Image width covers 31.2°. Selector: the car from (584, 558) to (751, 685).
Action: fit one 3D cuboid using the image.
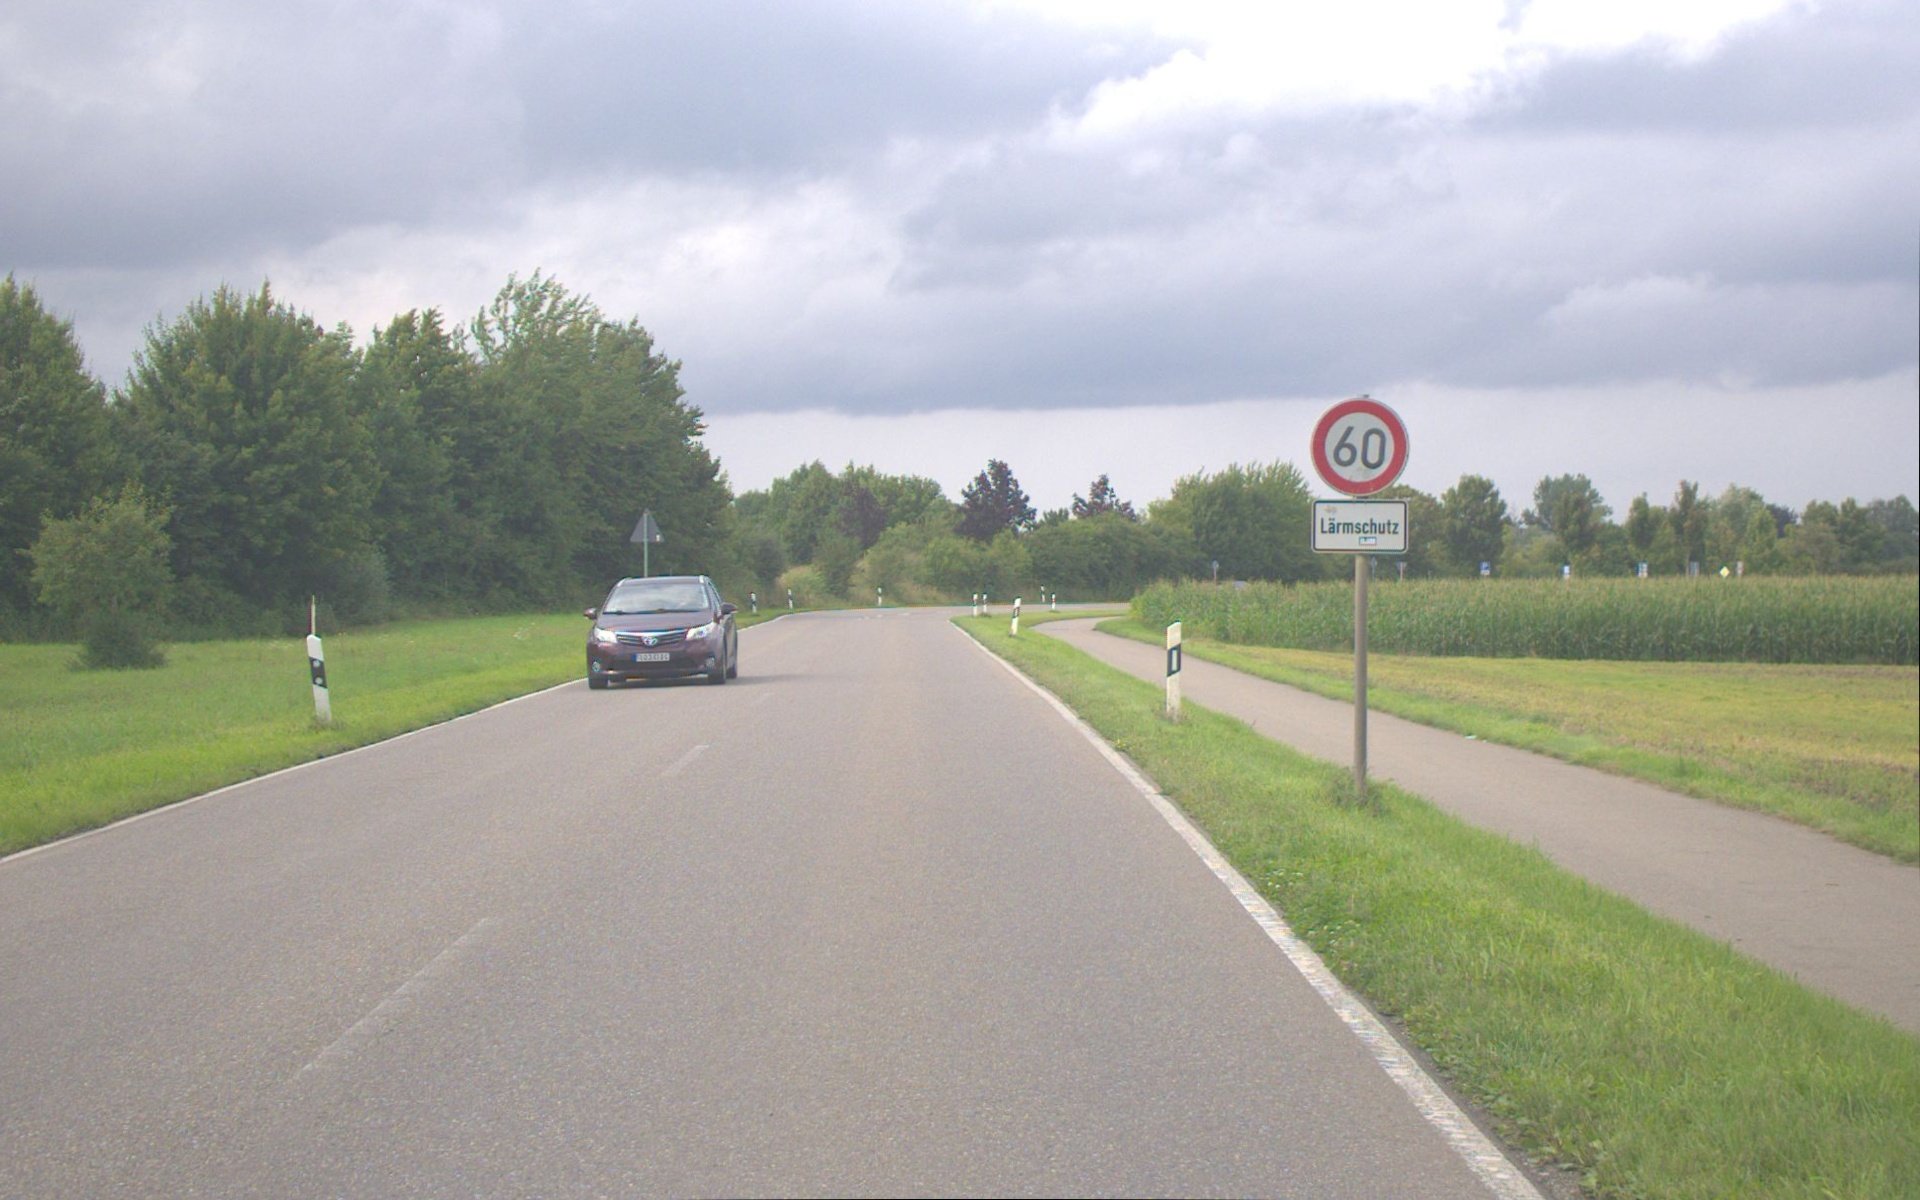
[{"bbox_3d":[-3.835,0.250,45.670,1.864,1.546,4.182,-2,1,-1],"label":"car"}]
